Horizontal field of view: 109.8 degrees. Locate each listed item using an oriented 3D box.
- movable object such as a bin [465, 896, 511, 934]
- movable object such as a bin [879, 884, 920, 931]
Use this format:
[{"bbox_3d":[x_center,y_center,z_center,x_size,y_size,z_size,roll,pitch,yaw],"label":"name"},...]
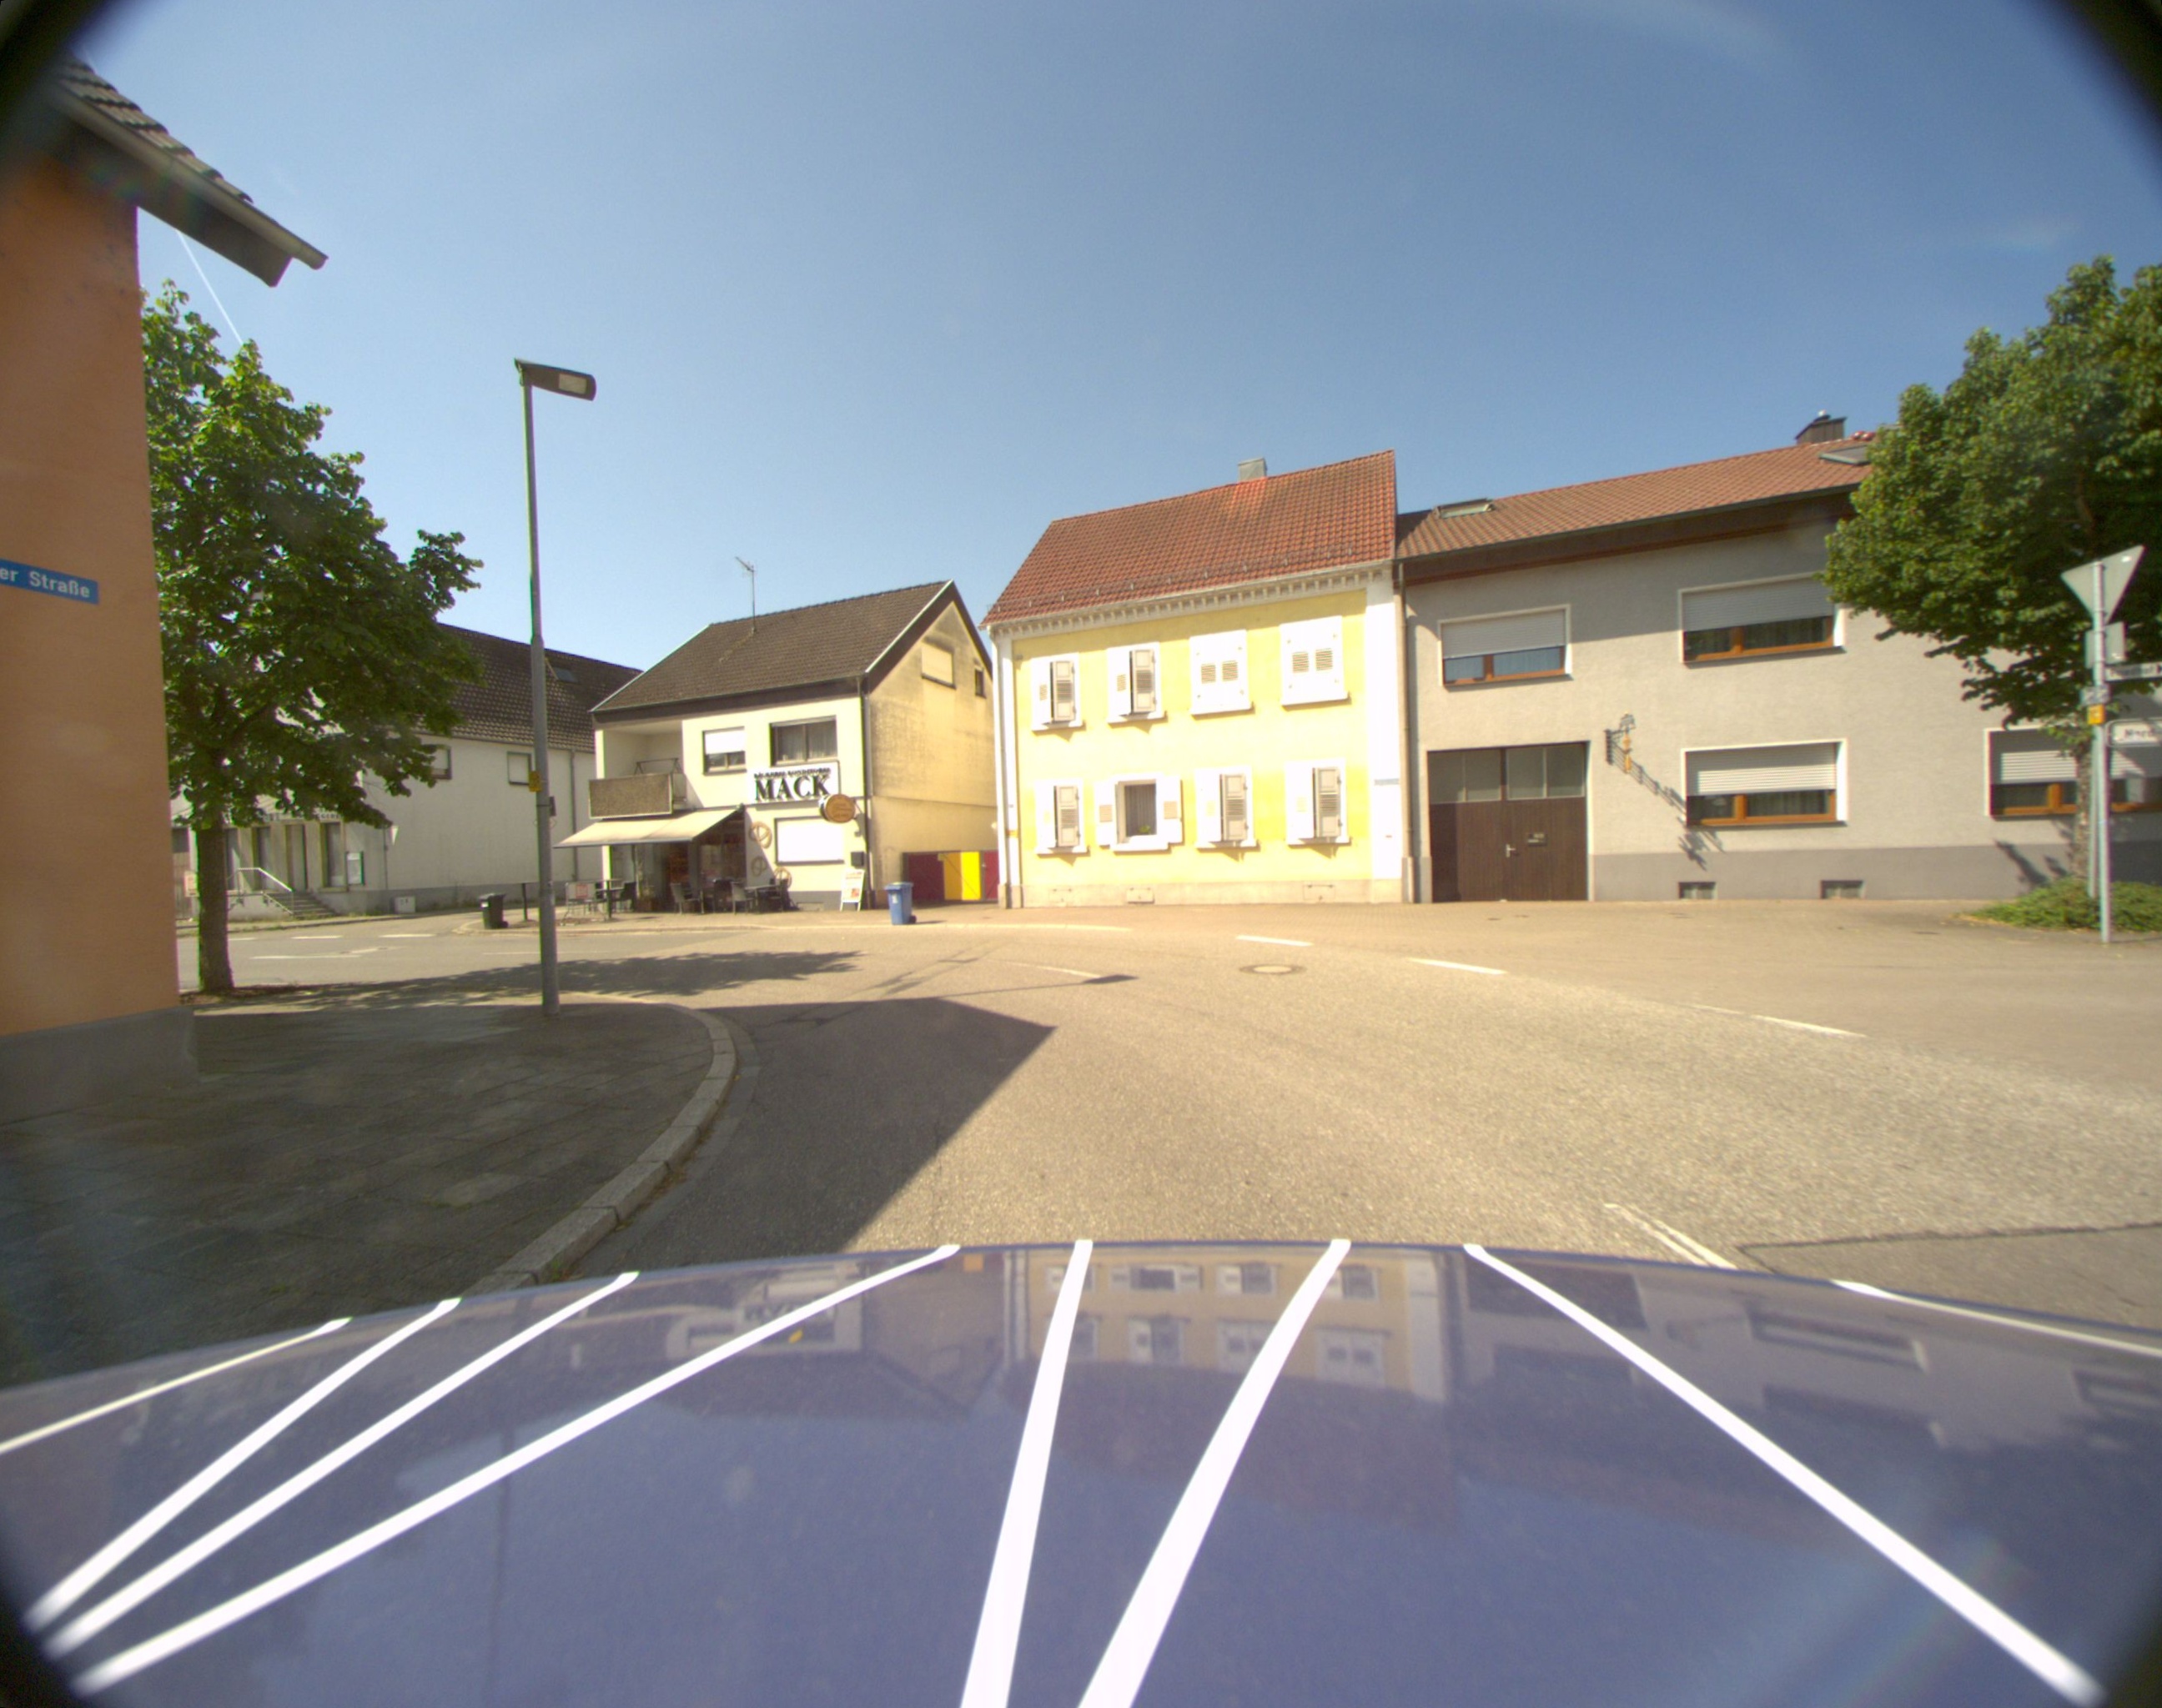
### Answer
[{"bbox_3d":[-15.558,1.599,19.948,0.612,0.919,0.645,-2,1,11],"label":"movable object such as a bin"},{"bbox_3d":[-4.074,1.194,17.056,0.612,0.975,0.645,-2,1,13],"label":"movable object such as a bin"}]
